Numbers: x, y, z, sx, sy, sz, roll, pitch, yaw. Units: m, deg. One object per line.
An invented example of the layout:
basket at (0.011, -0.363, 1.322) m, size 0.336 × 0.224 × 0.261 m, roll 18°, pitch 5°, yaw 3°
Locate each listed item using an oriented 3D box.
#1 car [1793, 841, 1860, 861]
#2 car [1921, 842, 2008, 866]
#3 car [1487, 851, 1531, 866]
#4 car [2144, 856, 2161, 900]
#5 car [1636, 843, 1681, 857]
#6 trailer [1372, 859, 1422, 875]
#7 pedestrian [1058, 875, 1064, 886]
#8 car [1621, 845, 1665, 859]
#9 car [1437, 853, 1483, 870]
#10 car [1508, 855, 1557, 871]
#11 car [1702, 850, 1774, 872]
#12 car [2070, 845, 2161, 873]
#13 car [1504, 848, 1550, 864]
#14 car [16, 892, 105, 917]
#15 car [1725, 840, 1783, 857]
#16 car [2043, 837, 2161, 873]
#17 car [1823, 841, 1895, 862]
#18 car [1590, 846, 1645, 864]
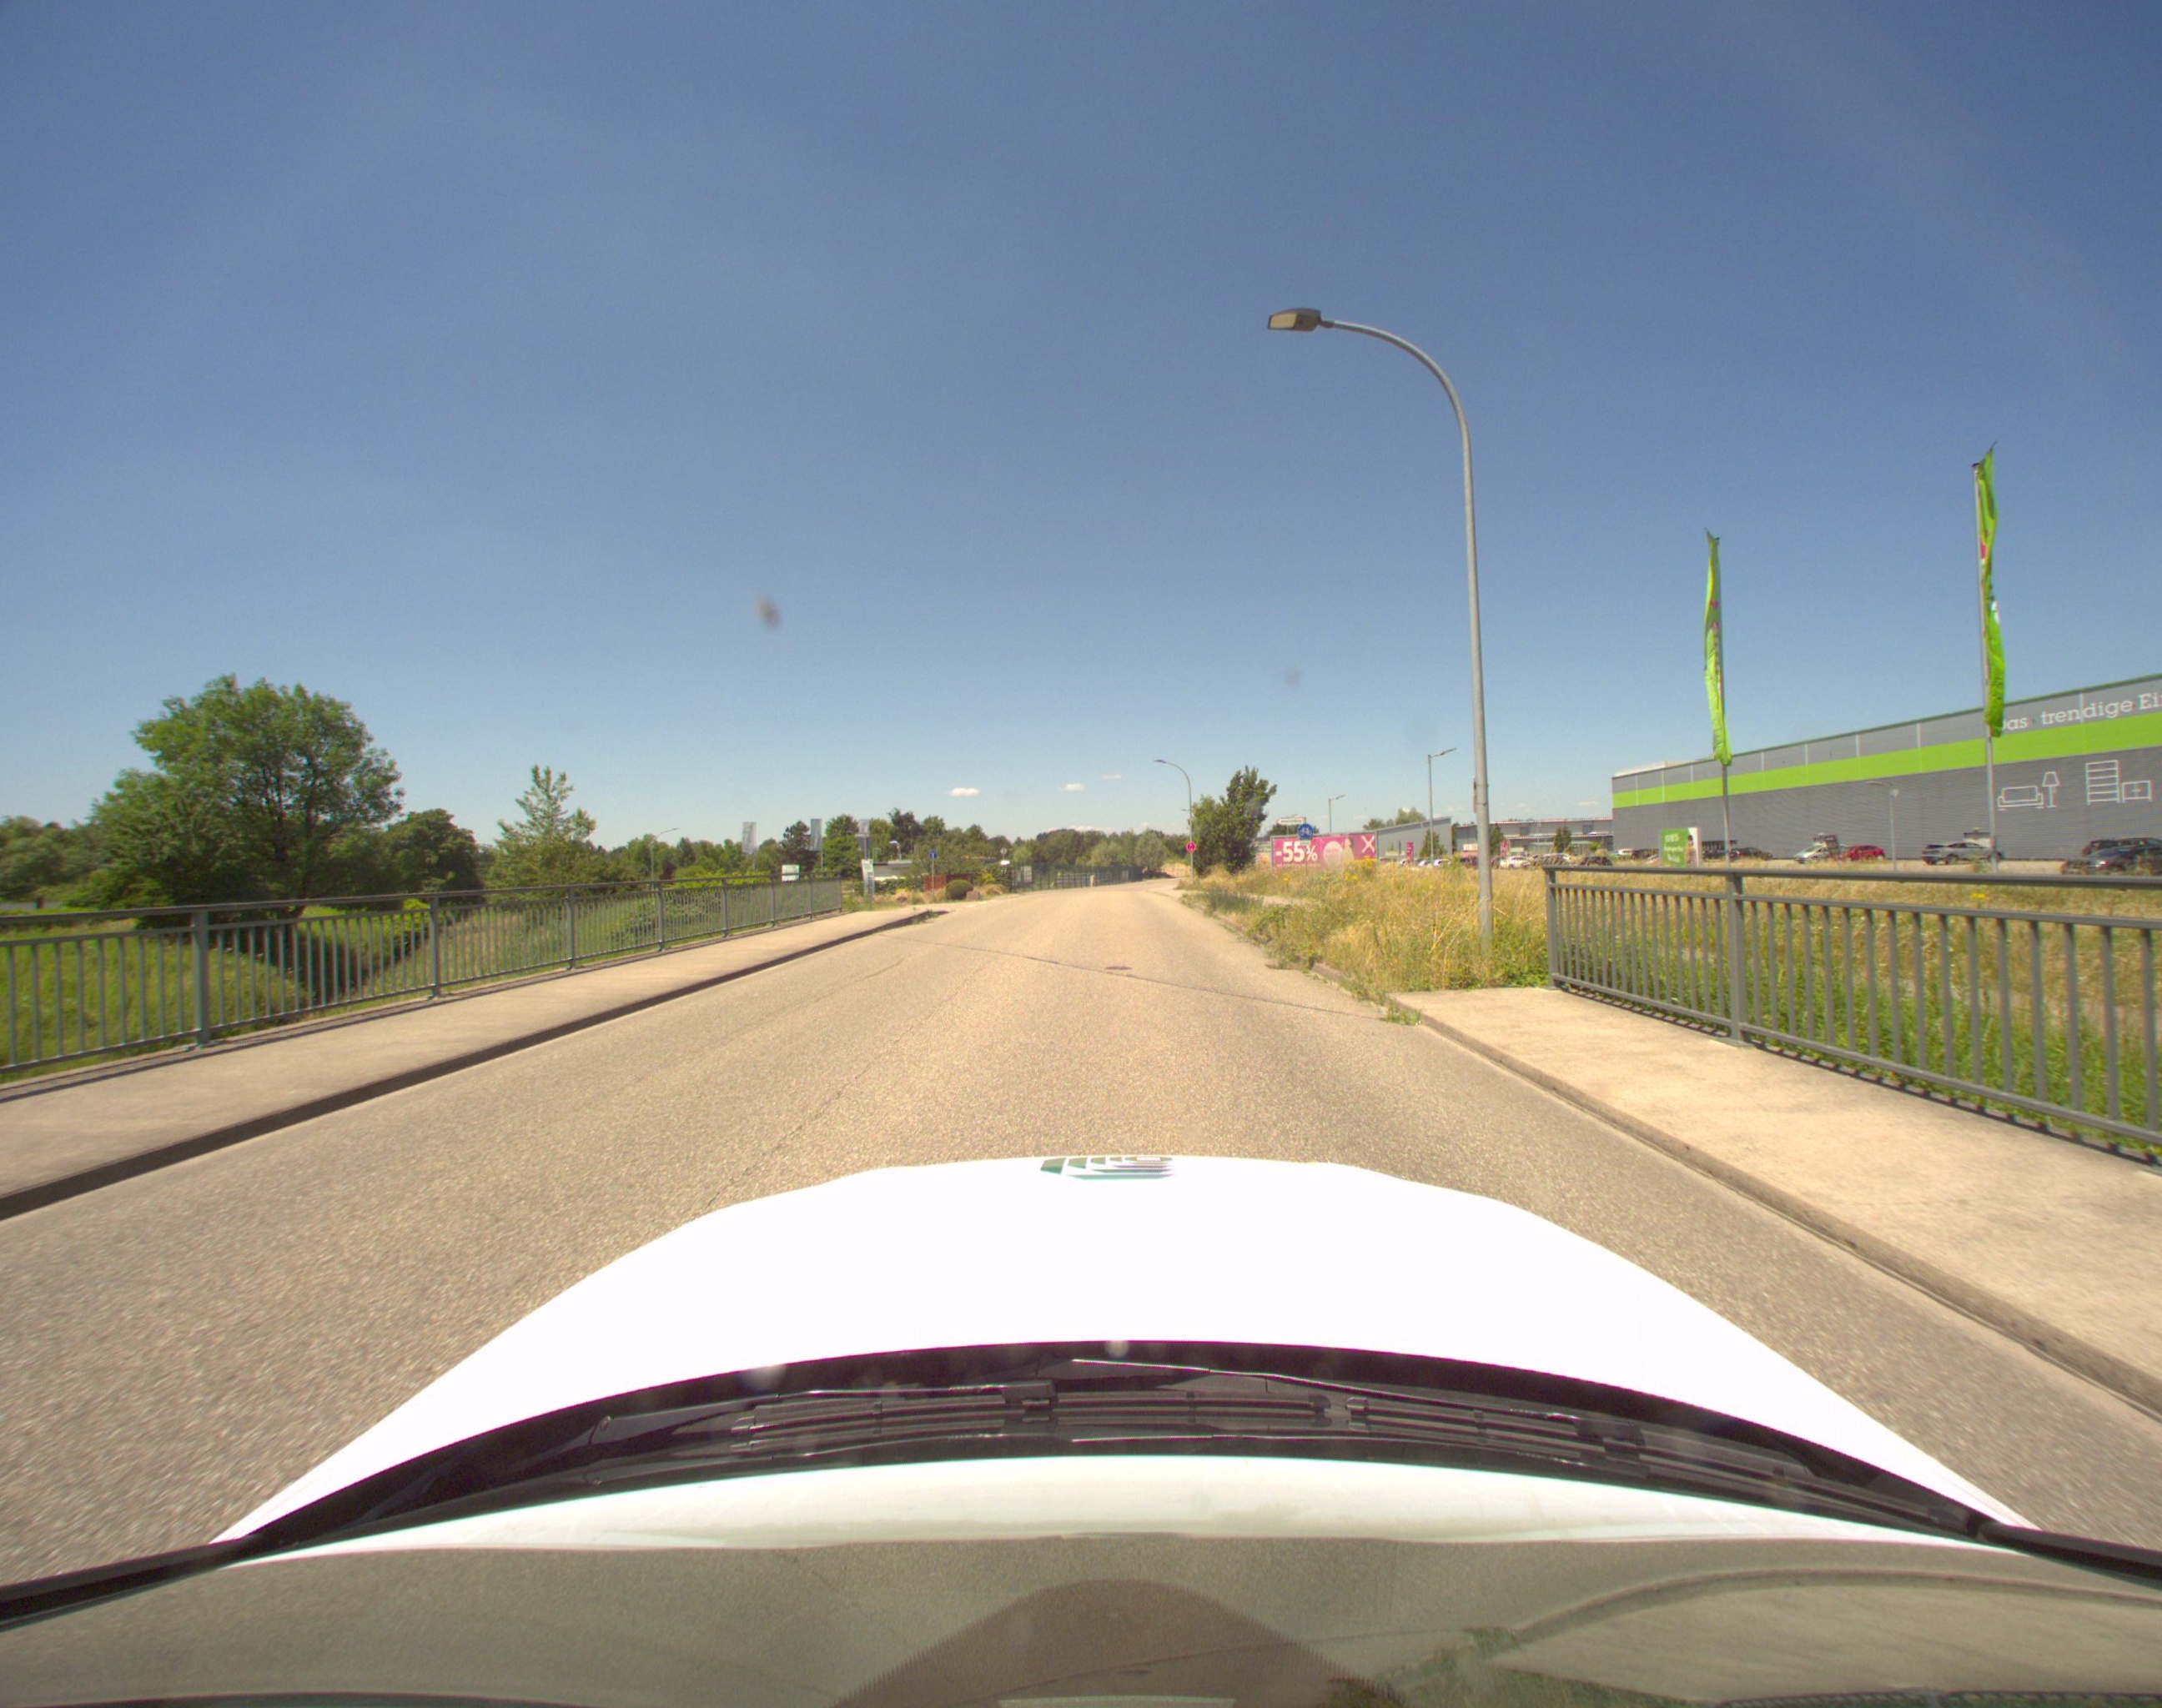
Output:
car at (65.757, -0.261, 71.888) m, size 3.970 × 1.475 × 2.002 m, roll -2°, pitch -2°, yaw 3°
car at (64.296, 0.015, 59.292) m, size 3.970 × 1.519 × 2.002 m, roll -2°, pitch -2°, yaw 3°
car at (48.991, 0.505, 93.269) m, size 3.966 × 1.519 × 2.003 m, roll -2°, pitch -2°, yaw 6°
car at (40.024, 0.764, 27.985) m, size 3.965 × 1.531 × 1.951 m, roll -3°, pitch -2°, yaw 8°
car at (69.782, -0.504, 98.474) m, size 3.970 × 1.519 × 2.001 m, roll -2°, pitch -2°, yaw 3°
trailer at (29.044, 1.224, 74.985) m, size 3.966 × 1.398 × 1.767 m, roll -1°, pitch -1°, yaw 6°
pedestrian at (-3.182, 4.208, 129.626) m, size 0.602 × 1.839 × 0.807 m, roll -3°, pitch -2°, yaw 10°
car at (69.939, -0.198, 101.411) m, size 3.970 × 1.519 × 2.001 m, roll -2°, pitch -2°, yaw 3°
car at (37.418, 0.760, 80.515) m, size 3.714 × 1.570 × 1.895 m, roll -1°, pitch -1°, yaw 8°
car at (46.846, 0.958, 84.522) m, size 3.970 × 1.519 × 2.002 m, roll -2°, pitch -2°, yaw 3°
car at (52.154, 0.559, 64.690) m, size 3.970 × 1.519 × 2.001 m, roll -2°, pitch -2°, yaw 3°
car at (62.412, 0.263, 48.379) m, size 4.632 × 1.519 × 2.002 m, roll -2°, pitch -2°, yaw 3°
car at (48.864, 0.258, 89.255) m, size 3.966 × 1.519 × 2.003 m, roll -2°, pitch -2°, yaw 6°
car at (-81.657, 4.015, 65.257) m, size 4.019 × 1.571 × 1.978 m, roll -3°, pitch 0°, yaw -37°
car at (67.599, -0.511, 81.845) m, size 3.970 × 1.519 × 2.002 m, roll -2°, pitch -2°, yaw 3°
car at (48.967, 0.037, 38.401) m, size 4.383 × 1.519 × 2.004 m, roll -2°, pitch -2°, yaw 7°
car at (65.618, -0.188, 68.735) m, size 3.970 × 1.519 × 2.002 m, roll -2°, pitch -2°, yaw 3°
car at (51.873, 0.147, 78.791) m, size 3.970 × 1.519 × 2.002 m, roll -2°, pitch -2°, yaw 3°
